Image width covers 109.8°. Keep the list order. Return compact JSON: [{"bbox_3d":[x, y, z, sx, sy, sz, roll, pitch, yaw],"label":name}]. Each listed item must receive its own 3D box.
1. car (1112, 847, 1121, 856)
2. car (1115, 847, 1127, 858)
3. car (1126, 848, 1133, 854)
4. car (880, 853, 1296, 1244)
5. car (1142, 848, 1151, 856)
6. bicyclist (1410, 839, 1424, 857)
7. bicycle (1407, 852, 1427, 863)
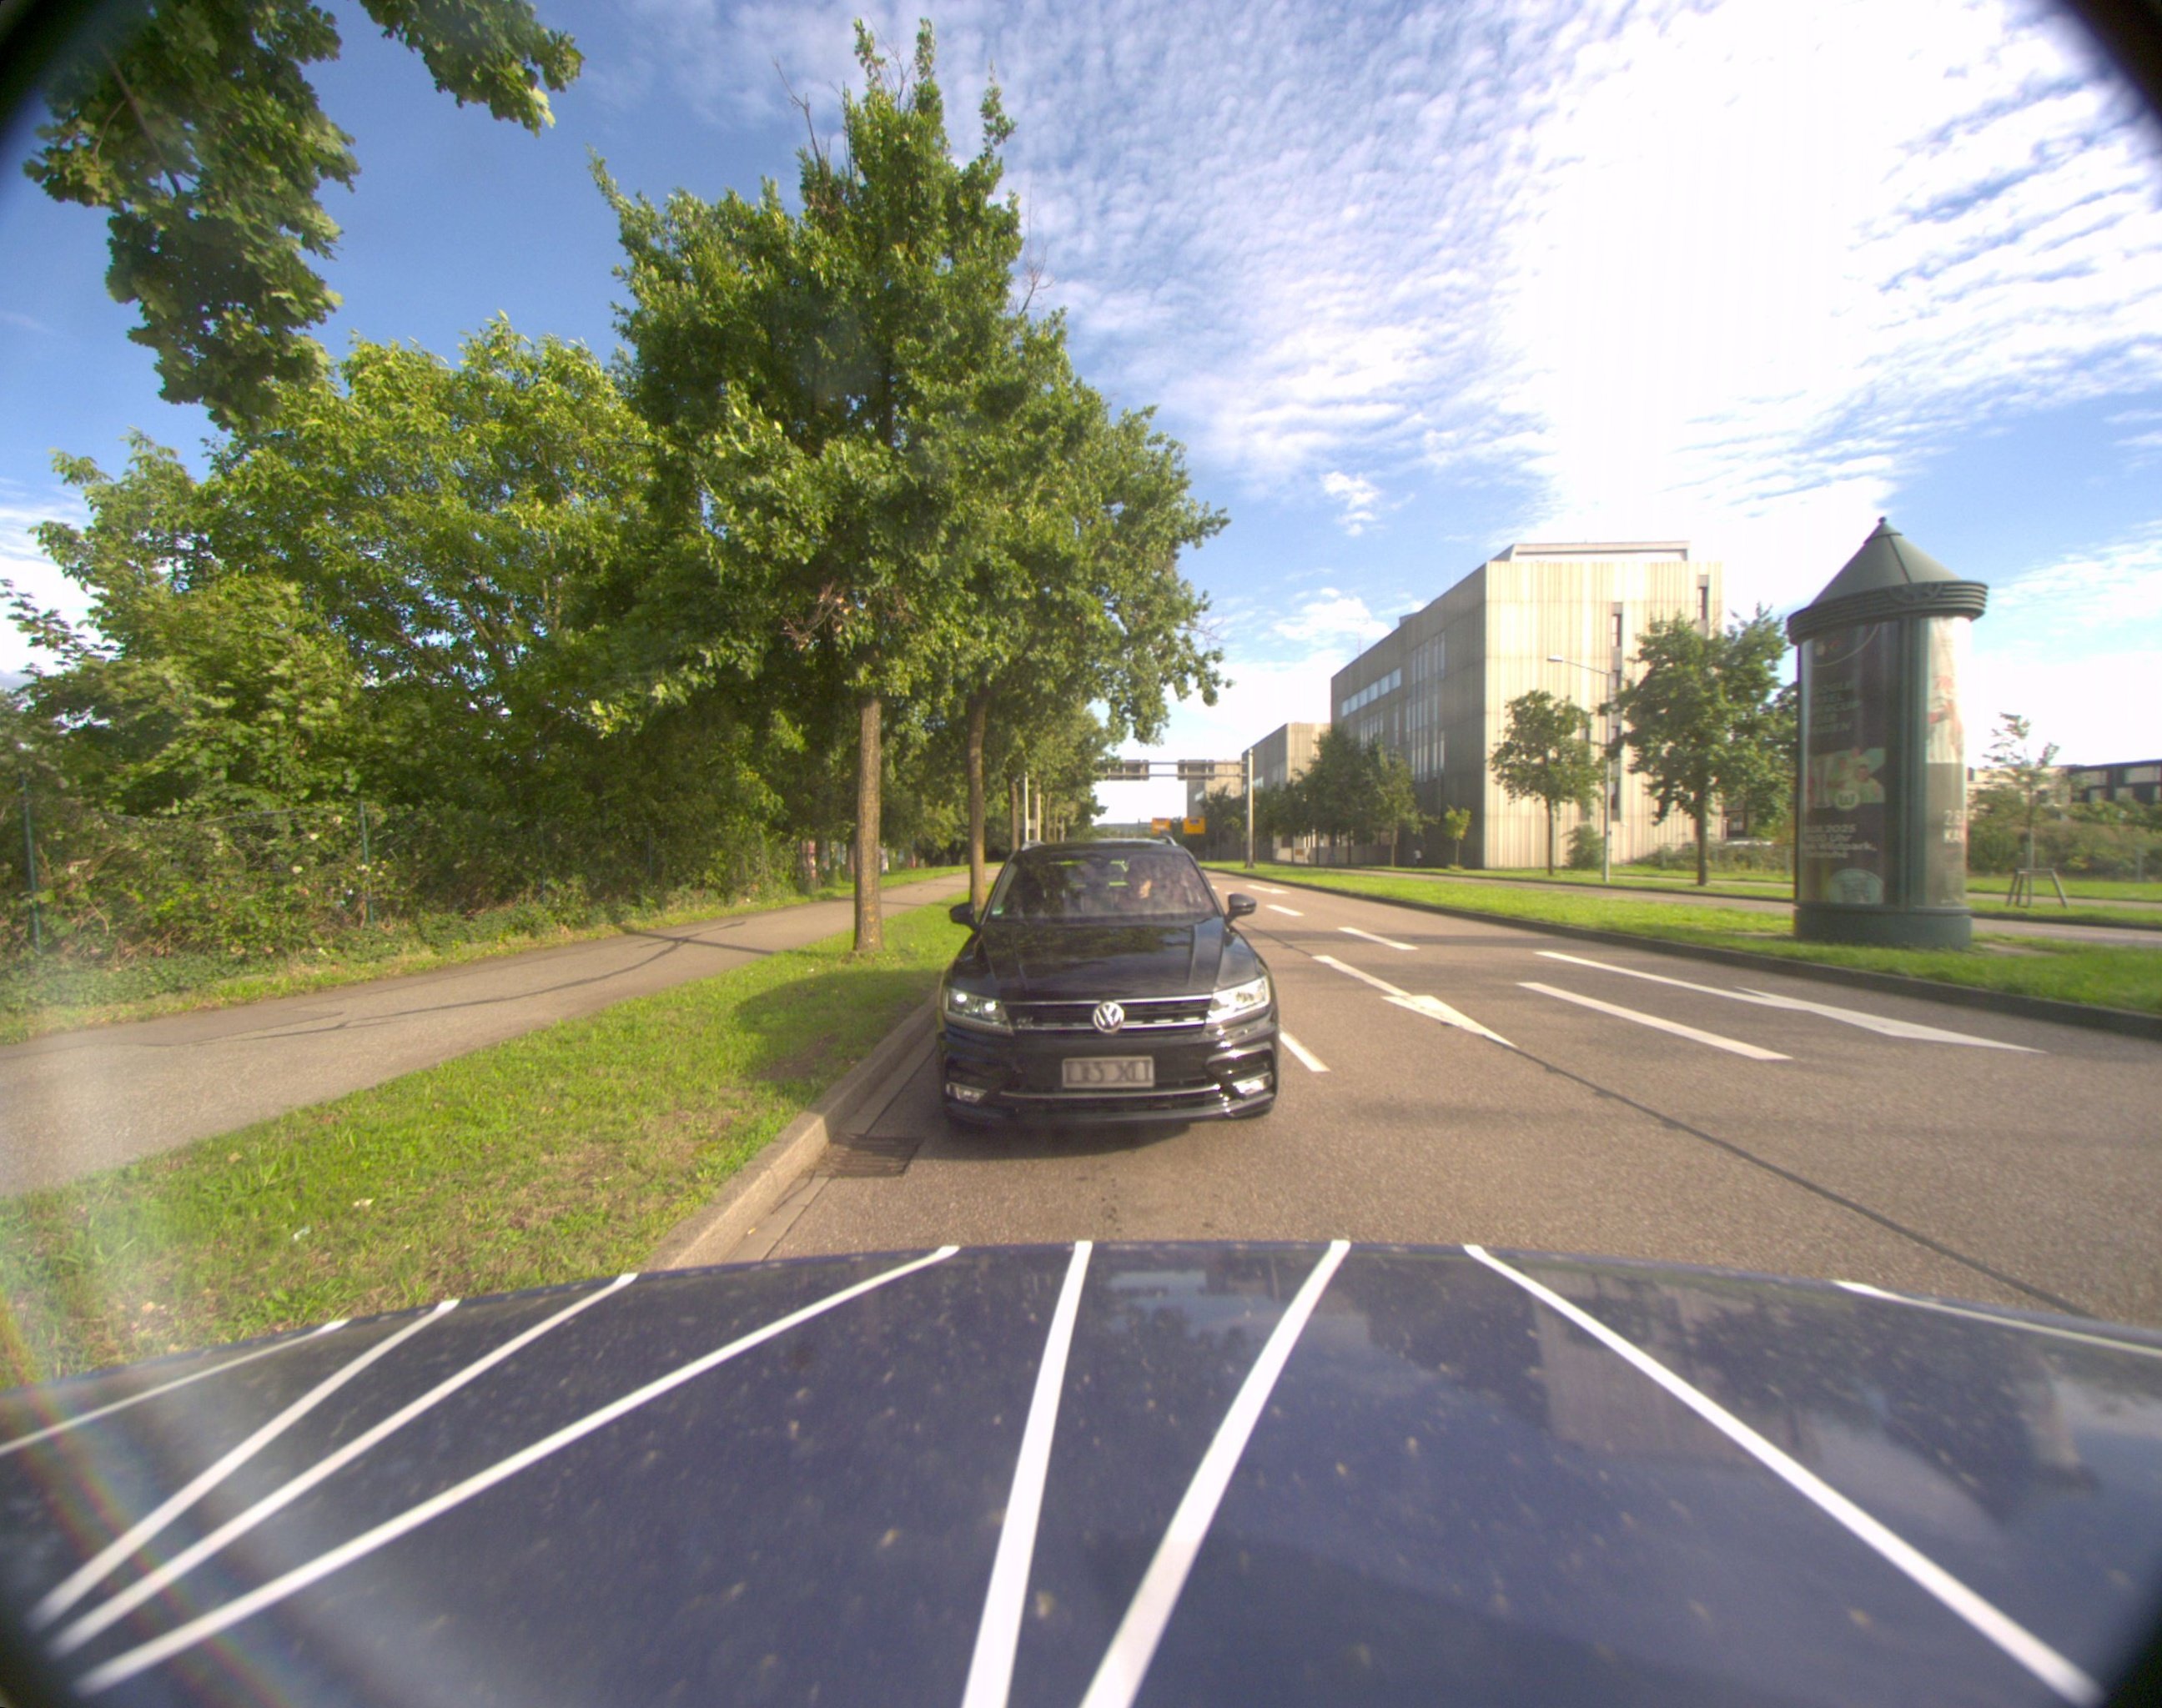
[{"bbox_3d":[7.979,-0.519,171.920,1.998,2.002,4.000,0,0,0],"label":"car"},{"bbox_3d":[5.868,-0.246,111.103,1.745,1.455,4.000,-1,1,3],"label":"car"},{"bbox_3d":[15.489,-0.980,243.858,1.998,2.002,3.983,0,0,0],"label":"car"},{"bbox_3d":[0.085,0.859,5.263,1.775,1.637,3.868,-2,1,2],"label":"car"},{"bbox_3d":[18.211,-0.532,211.293,1.998,2.002,4.000,0,0,0],"label":"car"},{"bbox_3d":[28.558,-0.469,64.566,0.707,1.517,0.989,0,1,1],"label":"bicyclist"},{"bbox_3d":[28.555,0.289,64.579,0.897,0.975,1.911,0,0,1],"label":"bicycle"}]
